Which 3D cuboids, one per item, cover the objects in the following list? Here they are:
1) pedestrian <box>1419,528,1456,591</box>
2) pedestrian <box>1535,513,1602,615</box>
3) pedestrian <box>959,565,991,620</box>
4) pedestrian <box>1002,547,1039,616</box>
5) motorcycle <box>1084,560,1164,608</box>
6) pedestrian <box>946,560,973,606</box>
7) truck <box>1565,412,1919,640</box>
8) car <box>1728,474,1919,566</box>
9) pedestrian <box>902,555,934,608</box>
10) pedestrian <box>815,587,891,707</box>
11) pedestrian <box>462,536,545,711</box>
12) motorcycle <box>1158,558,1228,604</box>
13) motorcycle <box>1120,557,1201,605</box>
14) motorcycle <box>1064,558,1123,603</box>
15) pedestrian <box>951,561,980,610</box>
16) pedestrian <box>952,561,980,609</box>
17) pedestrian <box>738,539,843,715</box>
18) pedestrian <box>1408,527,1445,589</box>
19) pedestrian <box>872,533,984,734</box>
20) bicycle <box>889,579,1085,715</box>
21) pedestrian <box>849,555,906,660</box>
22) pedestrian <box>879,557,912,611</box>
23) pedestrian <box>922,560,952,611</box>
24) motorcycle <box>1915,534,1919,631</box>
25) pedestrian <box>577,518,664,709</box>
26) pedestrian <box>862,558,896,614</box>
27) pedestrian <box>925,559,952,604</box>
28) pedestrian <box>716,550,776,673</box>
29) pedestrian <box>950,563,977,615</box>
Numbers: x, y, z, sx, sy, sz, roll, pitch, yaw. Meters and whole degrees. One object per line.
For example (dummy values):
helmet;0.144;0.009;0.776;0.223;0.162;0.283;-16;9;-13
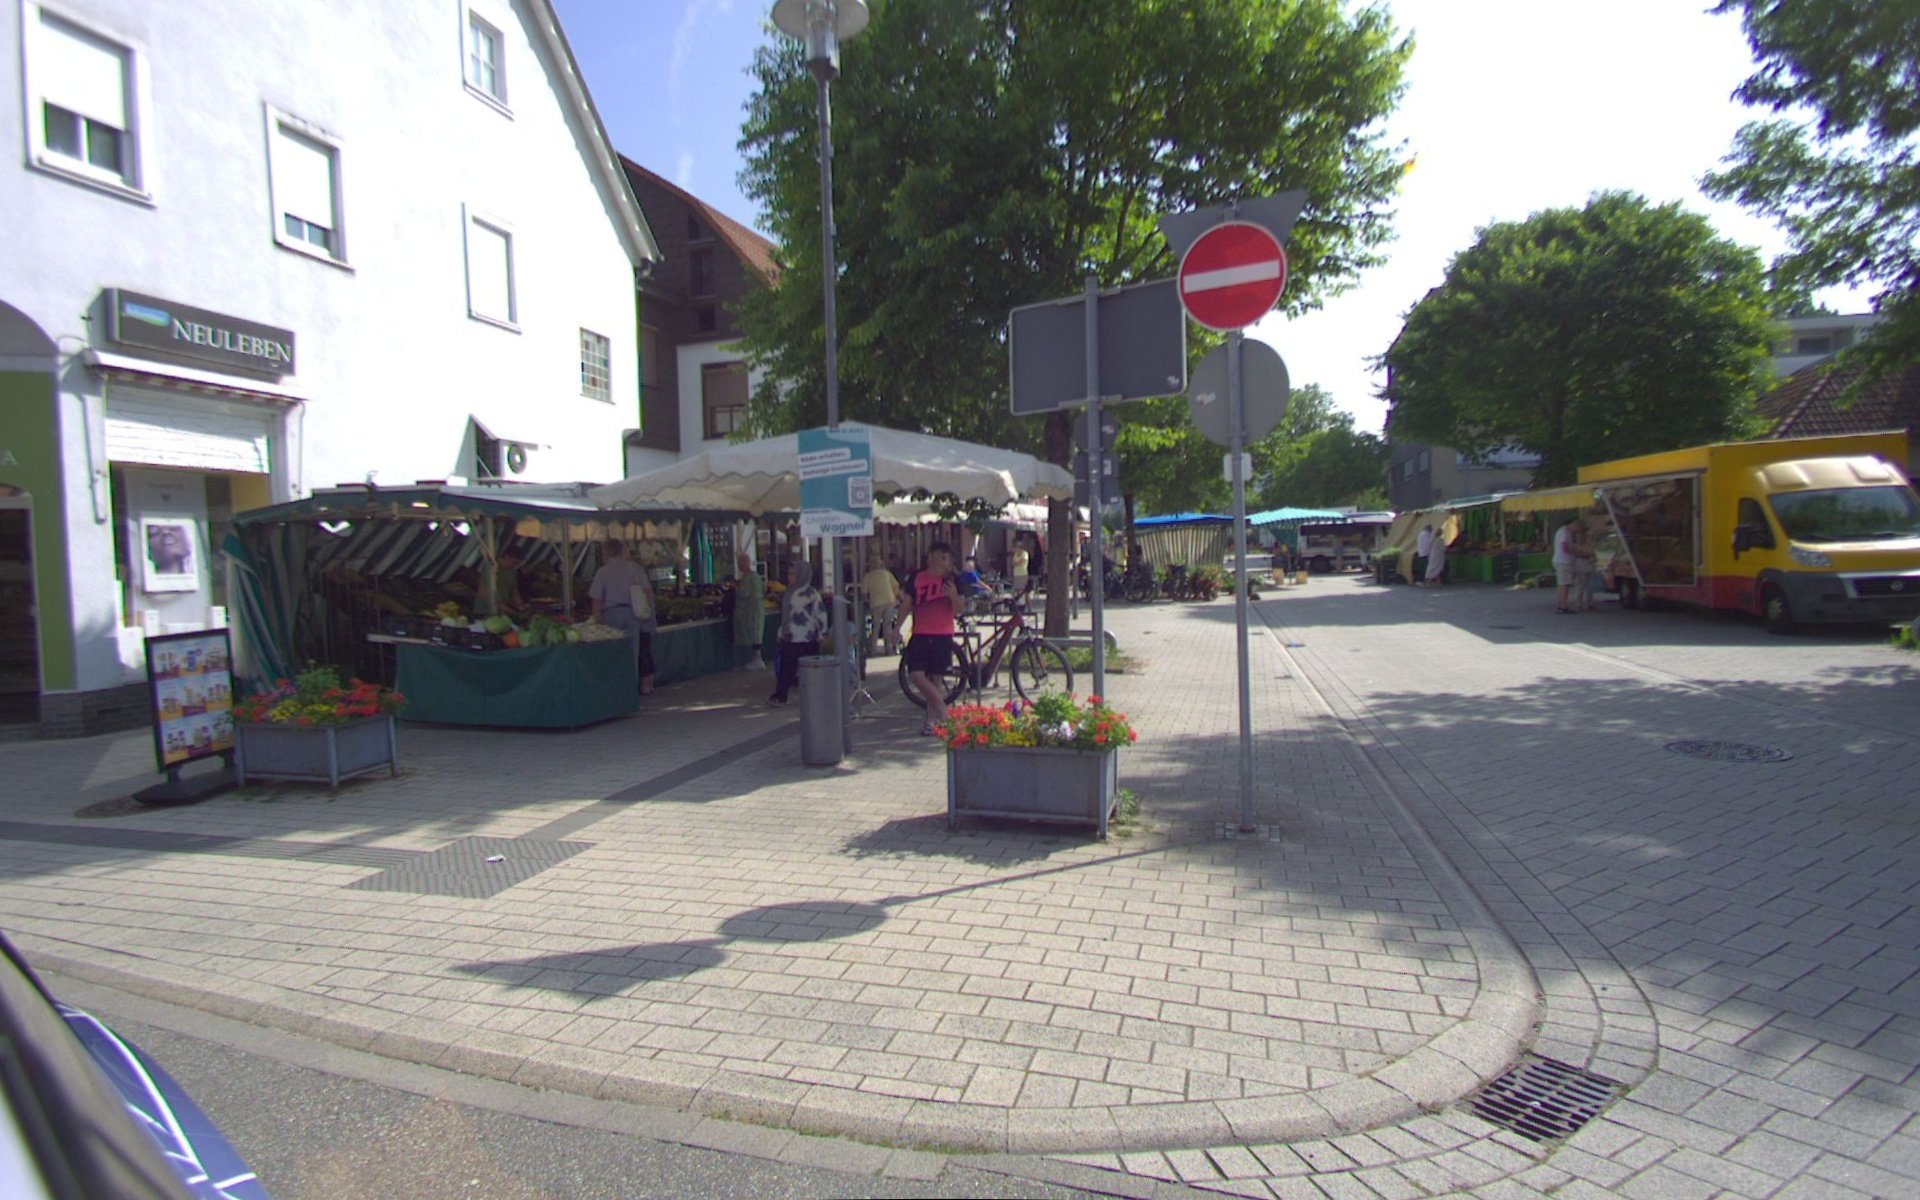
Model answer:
pedestrian;13.237;-1.125;28.044;0.672;1.694;0.583;-4;2;1
pedestrian;11.156;-0.660;18.558;0.671;1.799;0.727;-4;2;-5
pedestrian;0.339;-0.169;22.916;0.690;1.209;0.571;0;3;4
pedestrian;1.408;-0.439;23.481;0.695;1.565;0.568;2;3;24
motorcycle;4.307;-0.443;26.623;1.998;1.204;0.637;2;4;31
pedestrian;-0.014;-0.470;27.482;0.567;1.209;0.647;1;3;18
truck;13.000;-1.182;16.740;2.985;2.778;8.815;-2;3;17
car;20.836;-1.801;22.952;5.023;1.905;1.992;-1;1;14
pedestrian;-1.094;-0.495;26.594;0.622;1.340;0.695;1;3;21
pedestrian;-1.092;0.464;10.408;0.513;1.169;0.617;-1;1;24
pedestrian;-5.378;0.255;11.927;0.508;1.985;0.697;0;2;44
motorcycle;6.311;-0.536;27.532;0.632;1.204;2.012;-1;3;-31
motorcycle;5.326;-0.524;26.930;1.998;1.204;0.637;2;3;31
motorcycle;3.687;-0.540;27.941;1.520;1.204;0.640;1;3;18
pedestrian;0.144;-0.370;25.758;0.567;1.209;0.647;1;3;18
pedestrian;0.168;-0.401;26.492;0.567;1.209;0.647;1;3;18
pedestrian;-1.742;0.256;10.471;0.704;1.736;0.781;-1;1;28
pedestrian;13.285;-1.183;28.818;0.672;1.694;0.583;-4;1;1
pedestrian;-0.268;0.260;8.764;0.874;1.670;0.570;1;3;10
bicycle;0.276;0.455;10.017;1.839;1.244;0.616;-2;1;5
pedestrian;-1.234;0.103;15.174;0.617;1.529;0.629;-1;1;18
pedestrian;-1.639;-0.427;25.717;0.622;1.340;0.695;1;3;21
pedestrian;-0.560;-0.366;24.745;0.567;1.209;0.647;1;3;18
motorcycle;10.401;-0.018;9.339;2.069;1.371;0.884;-4;1;17
pedestrian;-3.674;0.134;10.994;0.697;2.000;0.653;-2;1;-3
pedestrian;-1.987;-0.354;24.864;0.622;1.340;0.695;1;3;21
pedestrian;-0.584;-0.507;27.674;0.567;1.209;0.647;1;3;18
pedestrian;-2.915;0.150;13.845;0.517;1.639;0.704;-1;1;13
pedestrian;0.095;-0.265;23.871;0.565;1.209;0.649;1;3;7
